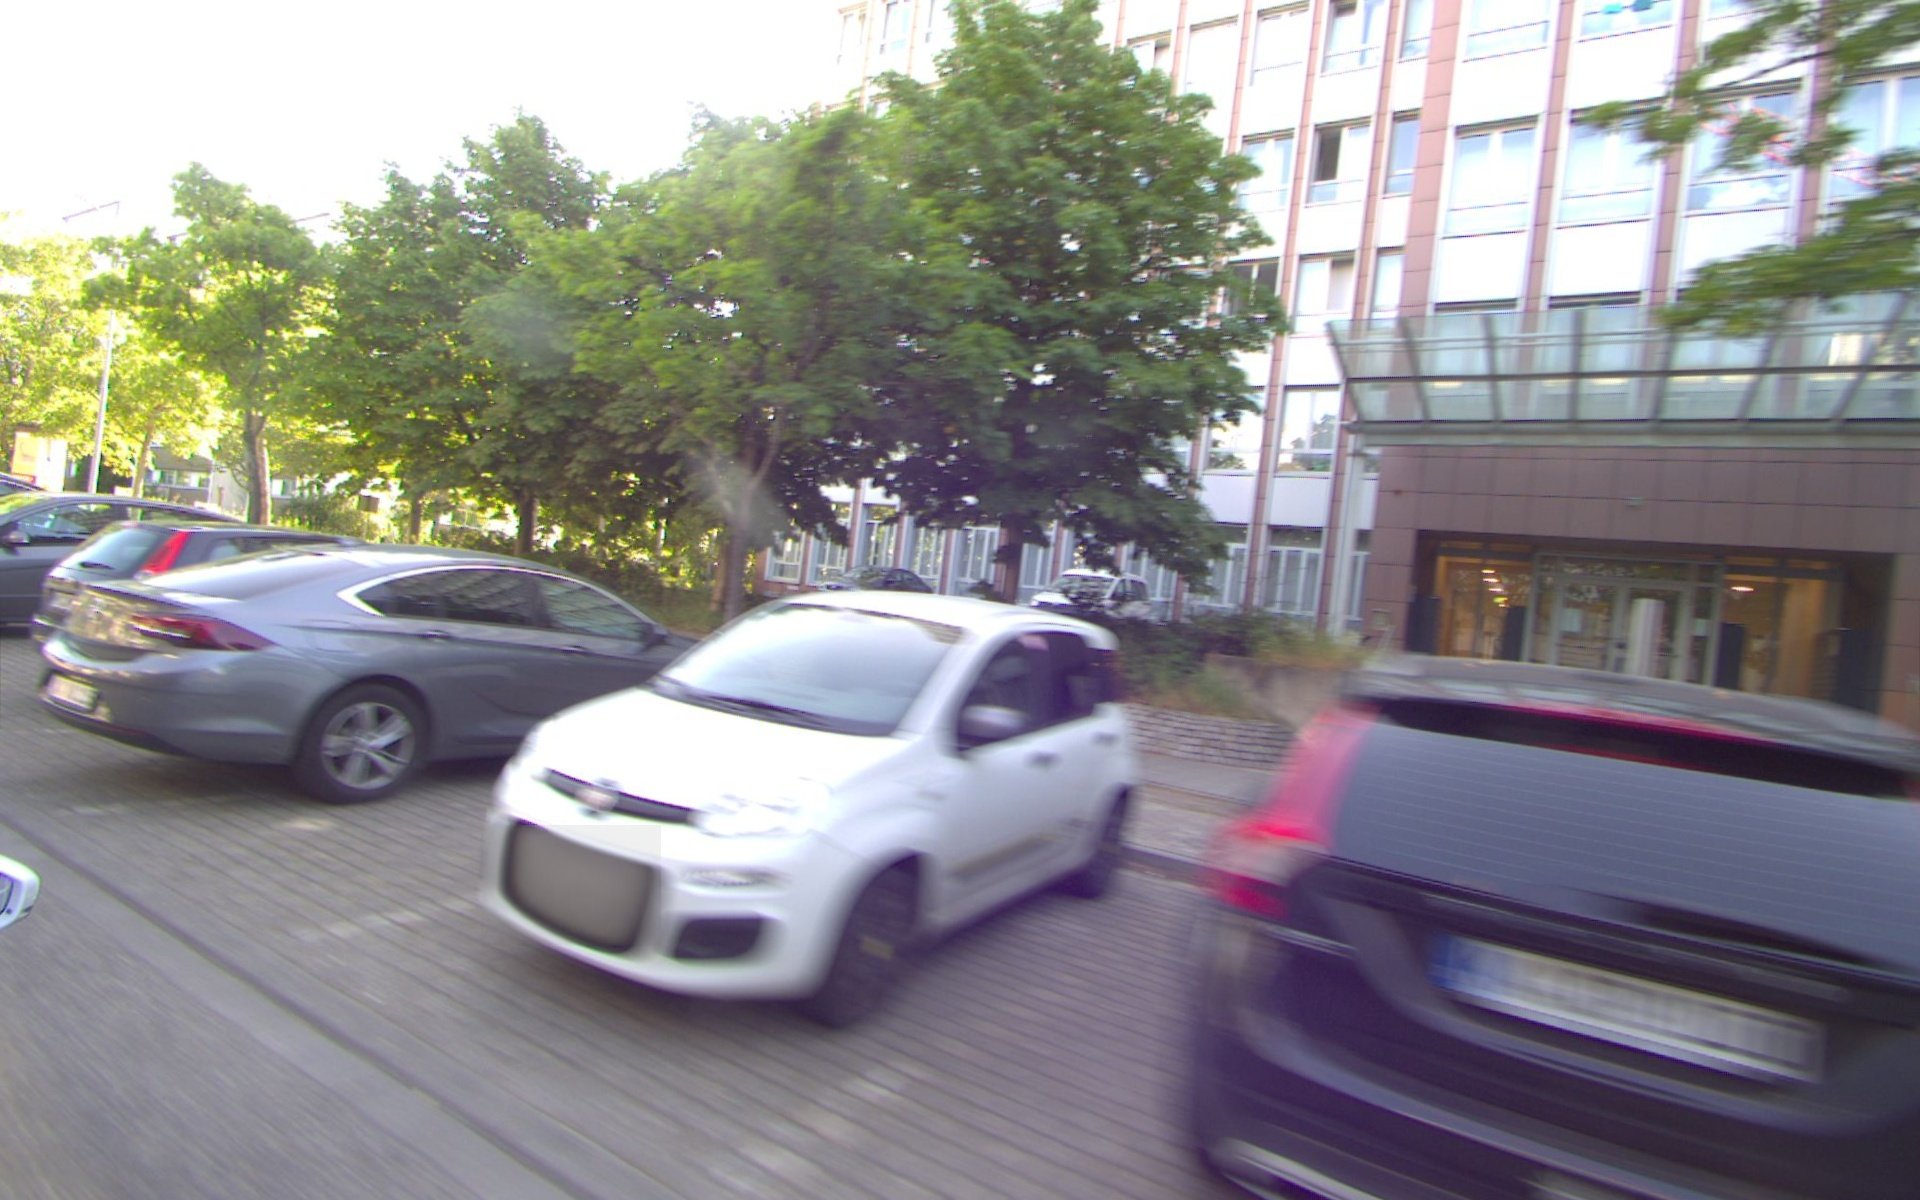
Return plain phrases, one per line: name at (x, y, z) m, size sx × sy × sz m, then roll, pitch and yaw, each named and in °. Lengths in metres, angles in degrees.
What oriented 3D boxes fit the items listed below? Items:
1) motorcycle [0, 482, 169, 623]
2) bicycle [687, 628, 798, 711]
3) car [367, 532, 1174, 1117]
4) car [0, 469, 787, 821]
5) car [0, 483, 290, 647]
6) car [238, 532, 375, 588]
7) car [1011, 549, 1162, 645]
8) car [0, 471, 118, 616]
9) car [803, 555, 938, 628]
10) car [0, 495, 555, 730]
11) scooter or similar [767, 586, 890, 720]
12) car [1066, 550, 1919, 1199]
motorcycle at (-11.489, -0.599, 12.567) m, size 0.754 × 1.599 × 2.310 m, roll 7°, pitch 0°, yaw 33°
bicycle at (-2.524, 0.796, 11.630) m, size 1.256 × 0.782 × 0.335 m, roll 7°, pitch -1°, yaw 29°
car at (-0.455, 0.705, 4.746) m, size 1.695 × 1.525 × 3.577 m, roll 6°, pitch 0°, yaw 31°
car at (-3.430, 0.338, 7.009) m, size 1.828 × 1.571 × 4.428 m, roll 7°, pitch -1°, yaw 31°
car at (-9.978, -0.405, 11.071) m, size 1.778 × 1.584 × 3.878 m, roll 6°, pitch 0°, yaw 27°
car at (-25.284, -1.502, 39.052) m, size 1.804 × 1.548 × 3.995 m, roll 7°, pitch -1°, yaw 30°
car at (3.117, 0.016, 23.815) m, size 1.843 × 1.706 × 4.728 m, roll 7°, pitch -1°, yaw 28°
car at (-13.313, -0.872, 12.729) m, size 1.697 × 1.772 × 3.674 m, roll 6°, pitch 0°, yaw 34°
car at (-2.416, -0.182, 28.179) m, size 1.694 × 1.524 × 4.236 m, roll 7°, pitch -1°, yaw 26°
car at (-5.688, 0.151, 8.772) m, size 1.694 × 1.499 × 3.719 m, roll 6°, pitch 0°, yaw 26°
scooter or similar at (-1.575, 0.621, 11.979) m, size 1.292 × 1.418 × 0.415 m, roll 6°, pitch -1°, yaw 29°
car at (1.935, 0.919, 3.511) m, size 1.654 × 1.567 × 3.981 m, roll 7°, pitch -1°, yaw 28°
